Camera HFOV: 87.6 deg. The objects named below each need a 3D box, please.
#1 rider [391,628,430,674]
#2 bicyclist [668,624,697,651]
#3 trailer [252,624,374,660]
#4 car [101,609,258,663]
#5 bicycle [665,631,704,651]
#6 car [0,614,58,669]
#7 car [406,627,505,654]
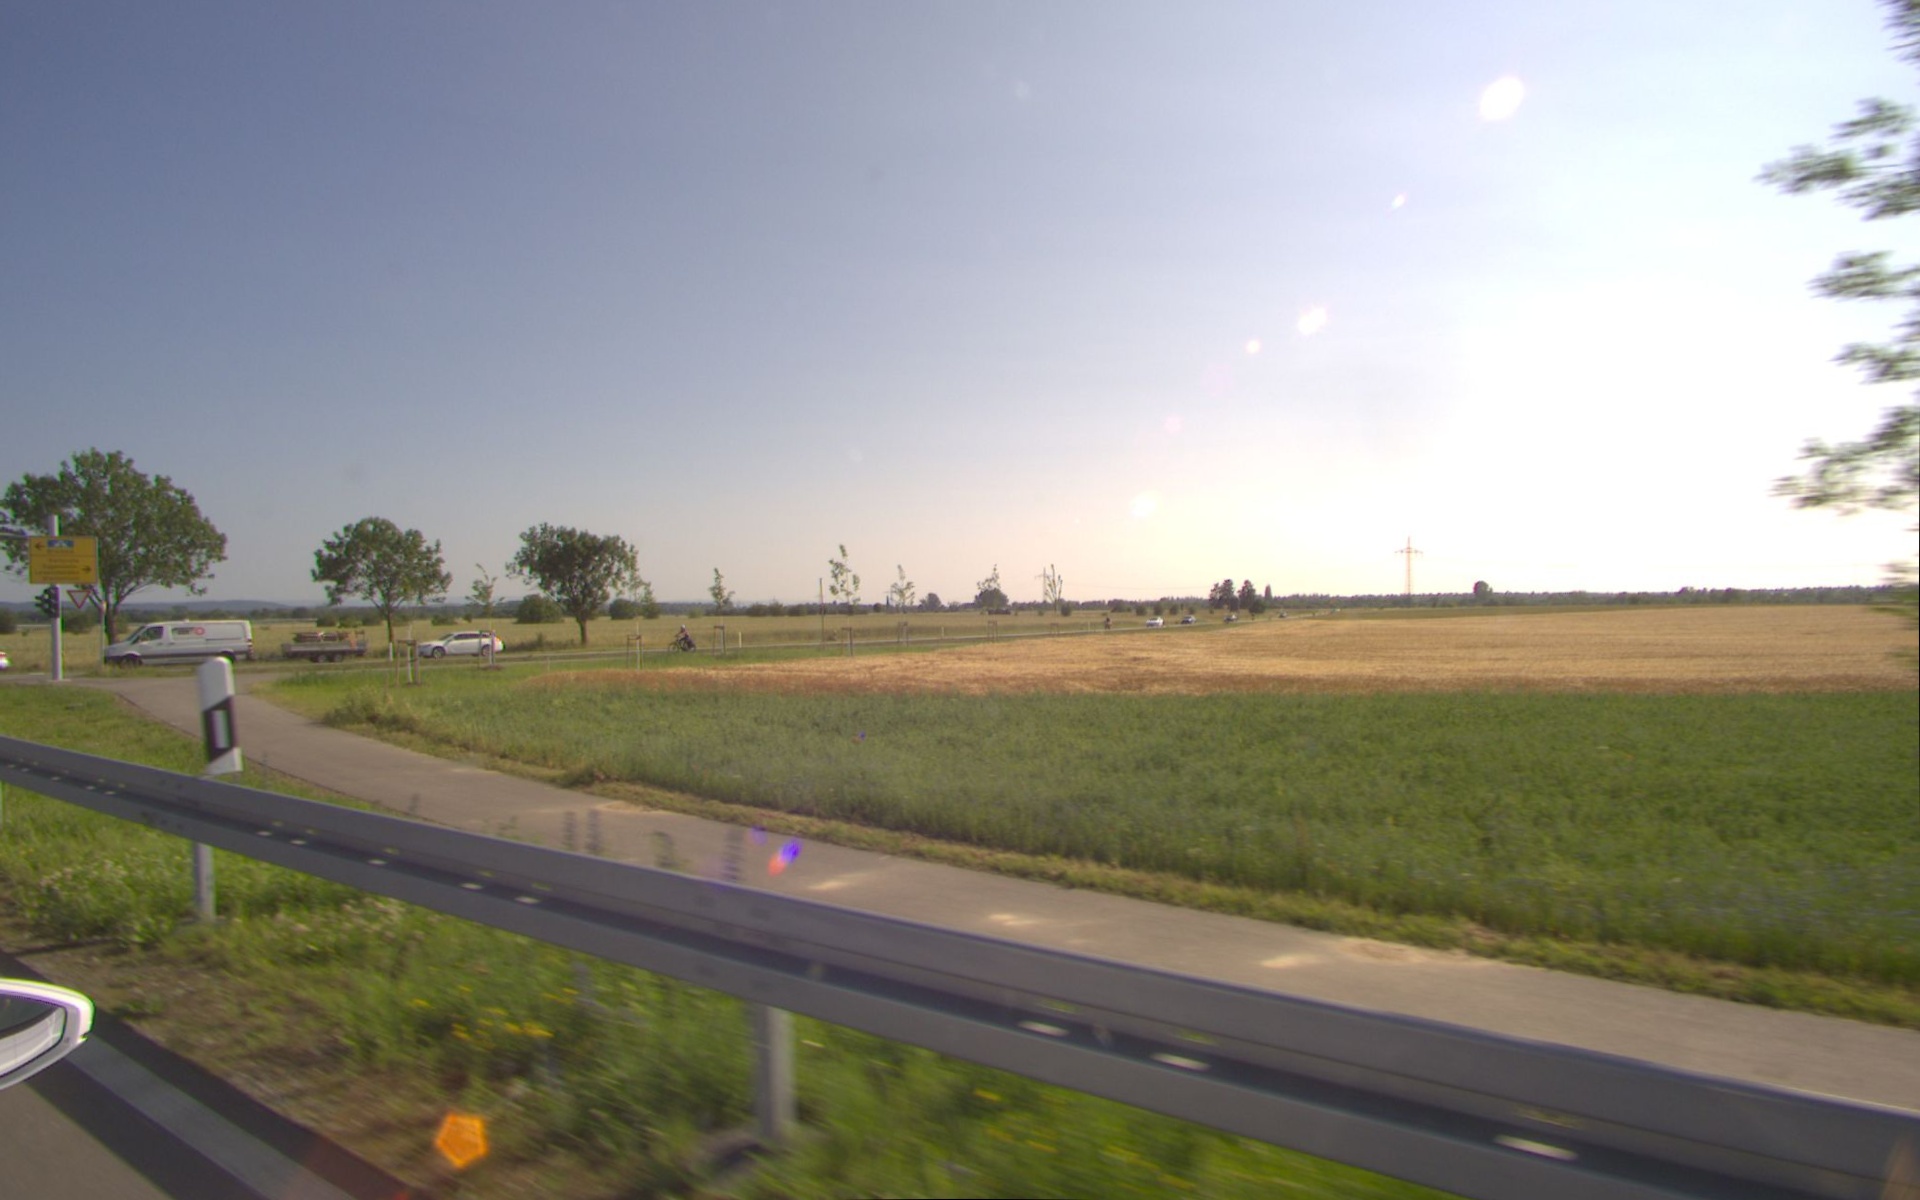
[{"bbox_3d":[-20.400,1.891,37.192,0.972,1.665,0.821,0,1,-2],"label":"rider"},{"bbox_3d":[-16.743,2.257,60.503,1.152,1.622,1.272,0,0,42],"label":"bicyclist"},{"bbox_3d":[-34.550,2.209,53.568,1.934,1.775,5.228,-2,-2,45],"label":"trailer"},{"bbox_3d":[-38.511,1.799,49.564,1.980,2.524,5.922,-2,-3,45],"label":"car"},{"bbox_3d":[-16.656,2.464,60.603,0.880,1.201,2.145,-2,-2,42],"label":"bicycle"},{"bbox_3d":[-46.959,1.996,47.577,2.366,2.609,5.865,-2,-3,40],"label":"car"},{"bbox_3d":[-29.659,2.390,59.010,1.978,1.529,4.845,-3,-3,42],"label":"car"}]
